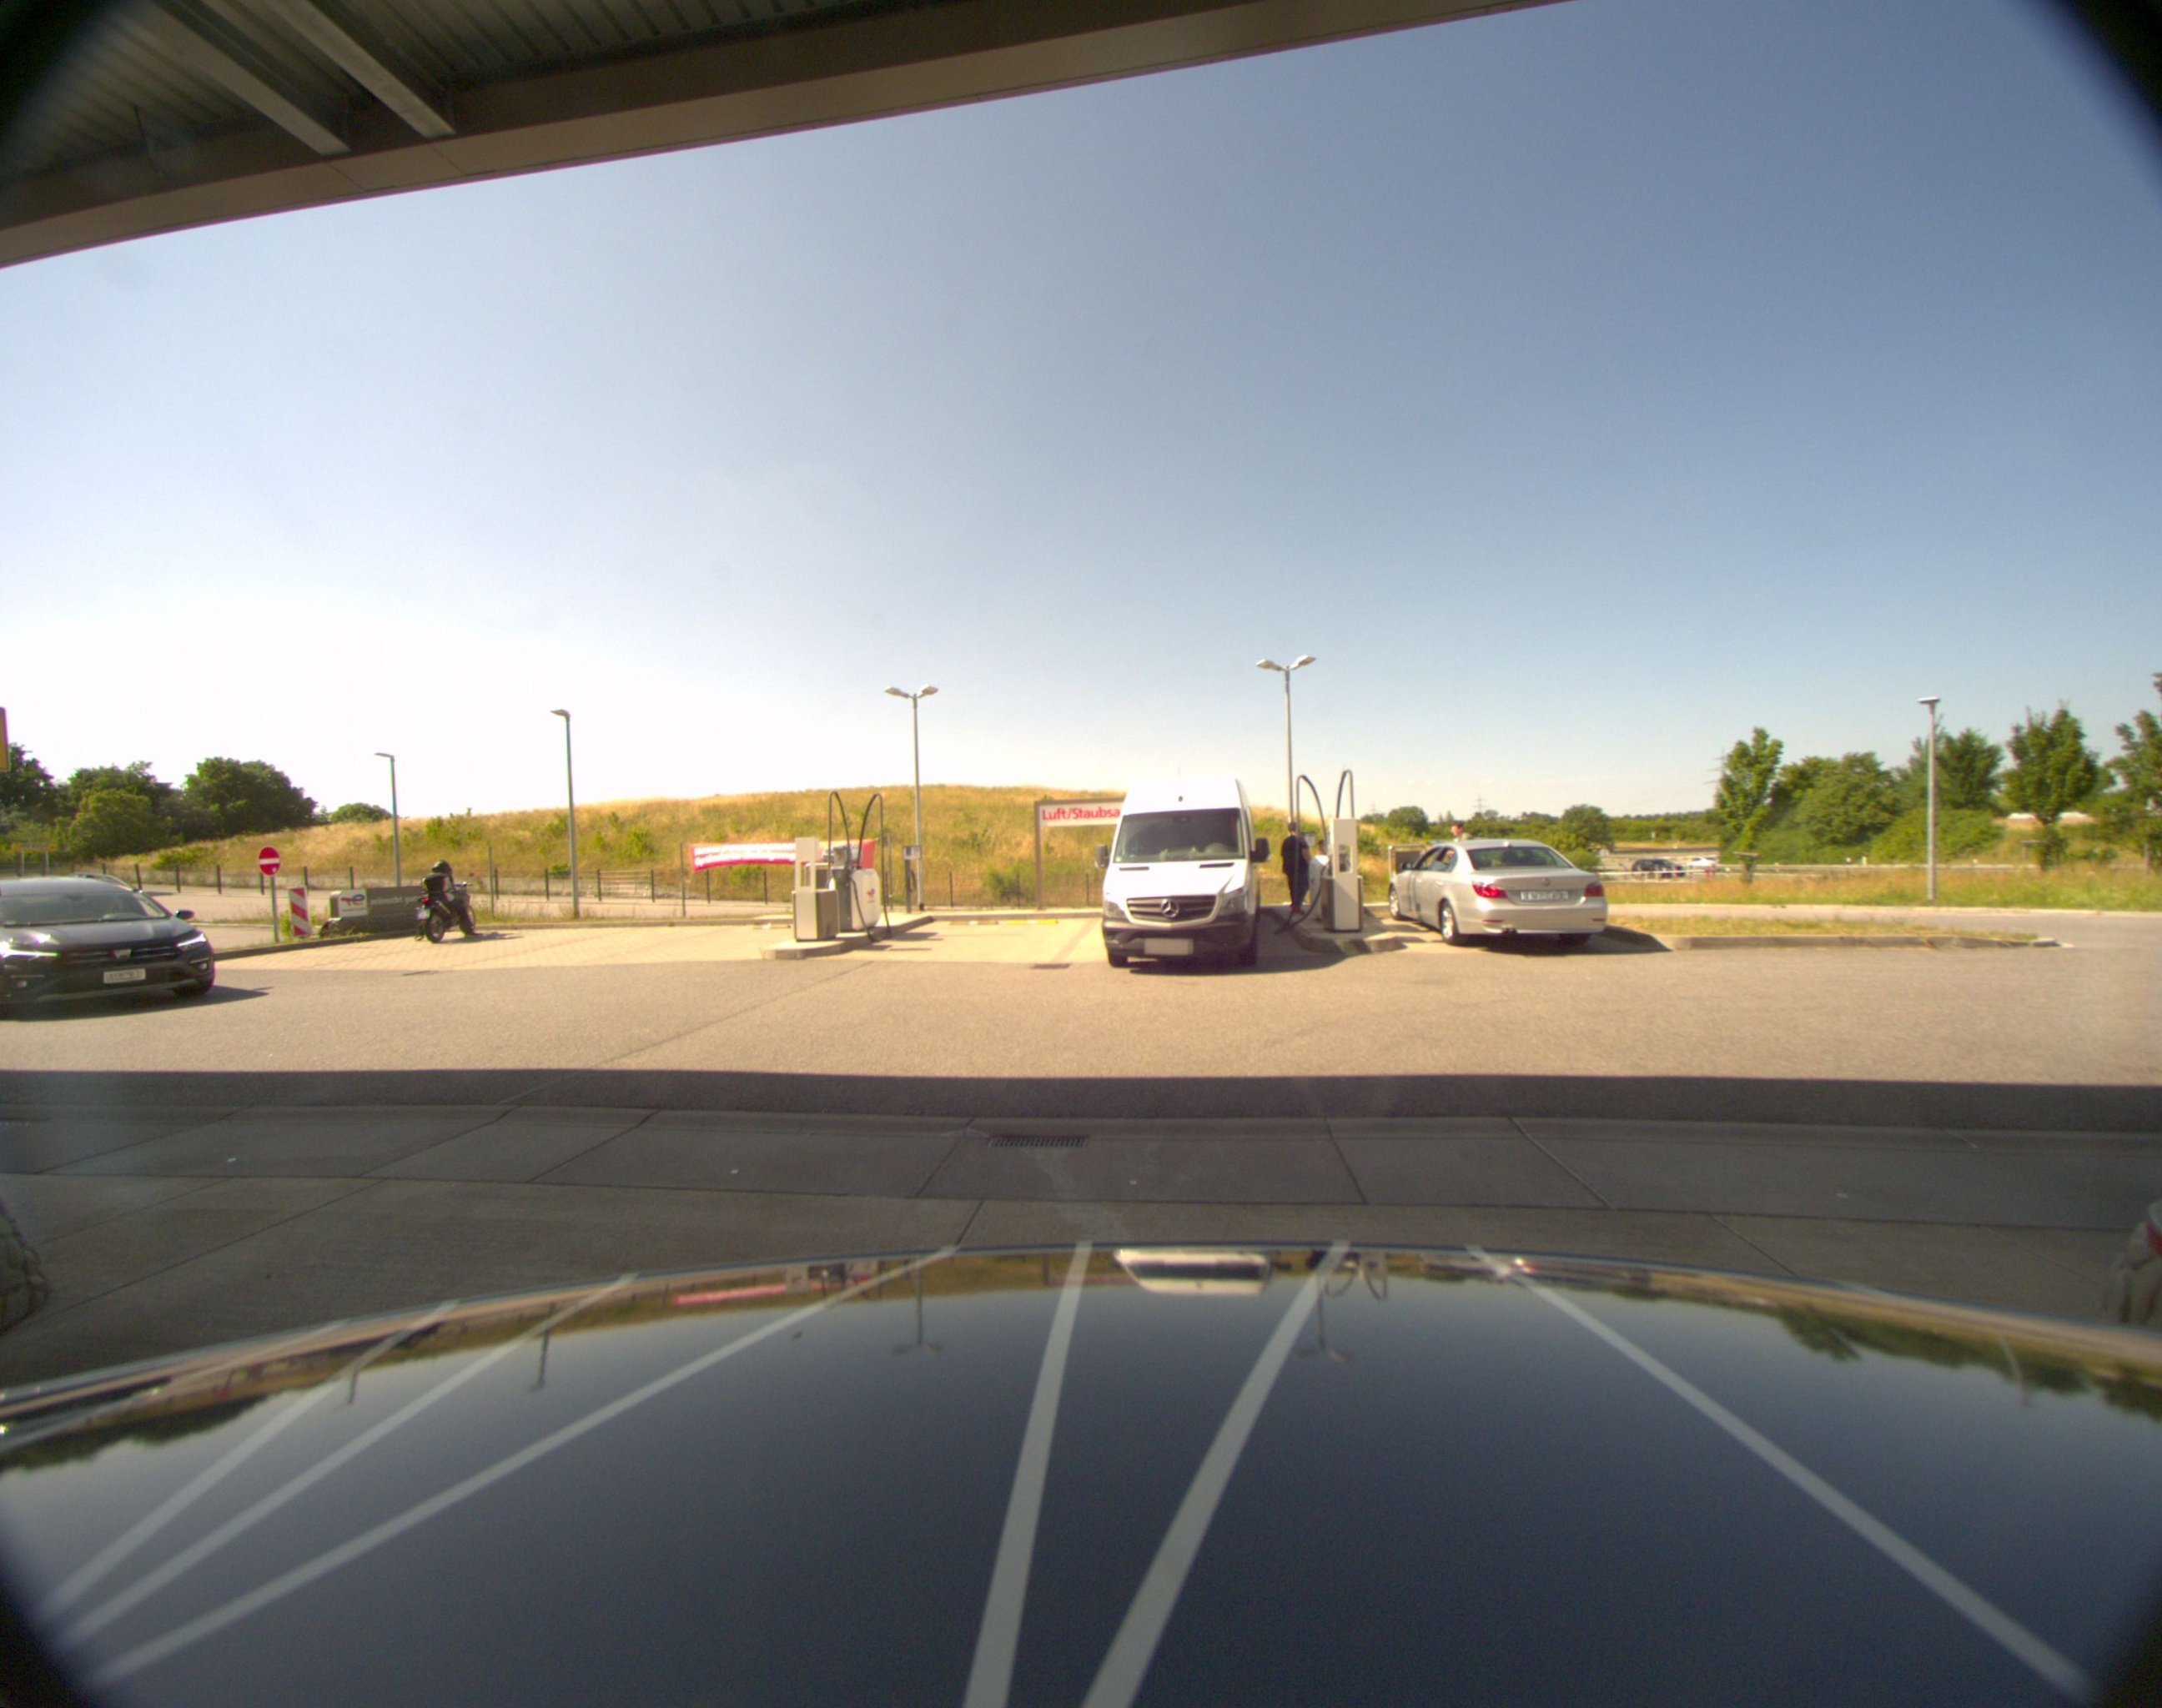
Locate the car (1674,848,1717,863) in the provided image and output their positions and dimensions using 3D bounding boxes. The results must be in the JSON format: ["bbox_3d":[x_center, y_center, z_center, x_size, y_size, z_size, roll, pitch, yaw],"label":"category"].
[{"bbox_3d":[66.571,0.183,82.395,1.894,1.510,4.003,-1,0,11],"label":"car"}]

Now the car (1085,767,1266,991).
[{"bbox_3d":[1.913,0.134,12.300,1.996,2.557,7.035,-1,3,14],"label":"car"}]

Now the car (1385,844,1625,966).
[{"bbox_3d":[6.130,0.616,11.611,1.791,1.420,4.323,-2,2,9],"label":"car"}]

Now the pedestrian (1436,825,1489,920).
[{"bbox_3d":[7.197,0.343,14.379,0.708,1.739,0.846,-1,1,14],"label":"pedestrian"}]

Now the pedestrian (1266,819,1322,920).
[{"bbox_3d":[3.851,0.269,13.707,0.707,1.759,0.847,-1,1,34],"label":"pedestrian"}]

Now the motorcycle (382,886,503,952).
[{"bbox_3d":[-13.307,1.319,15.961,1.046,1.100,2.412,-2,1,-17],"label":"motorcycle"}]

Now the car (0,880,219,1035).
[{"bbox_3d":[-13.691,1.225,10.158,4.620,1.635,1.747,-1,1,27],"label":"car"}]

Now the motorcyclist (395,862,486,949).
[{"bbox_3d":[-13.261,1.036,15.782,1.035,1.678,1.097,-2,1,-17],"label":"motorcyclist"}]
